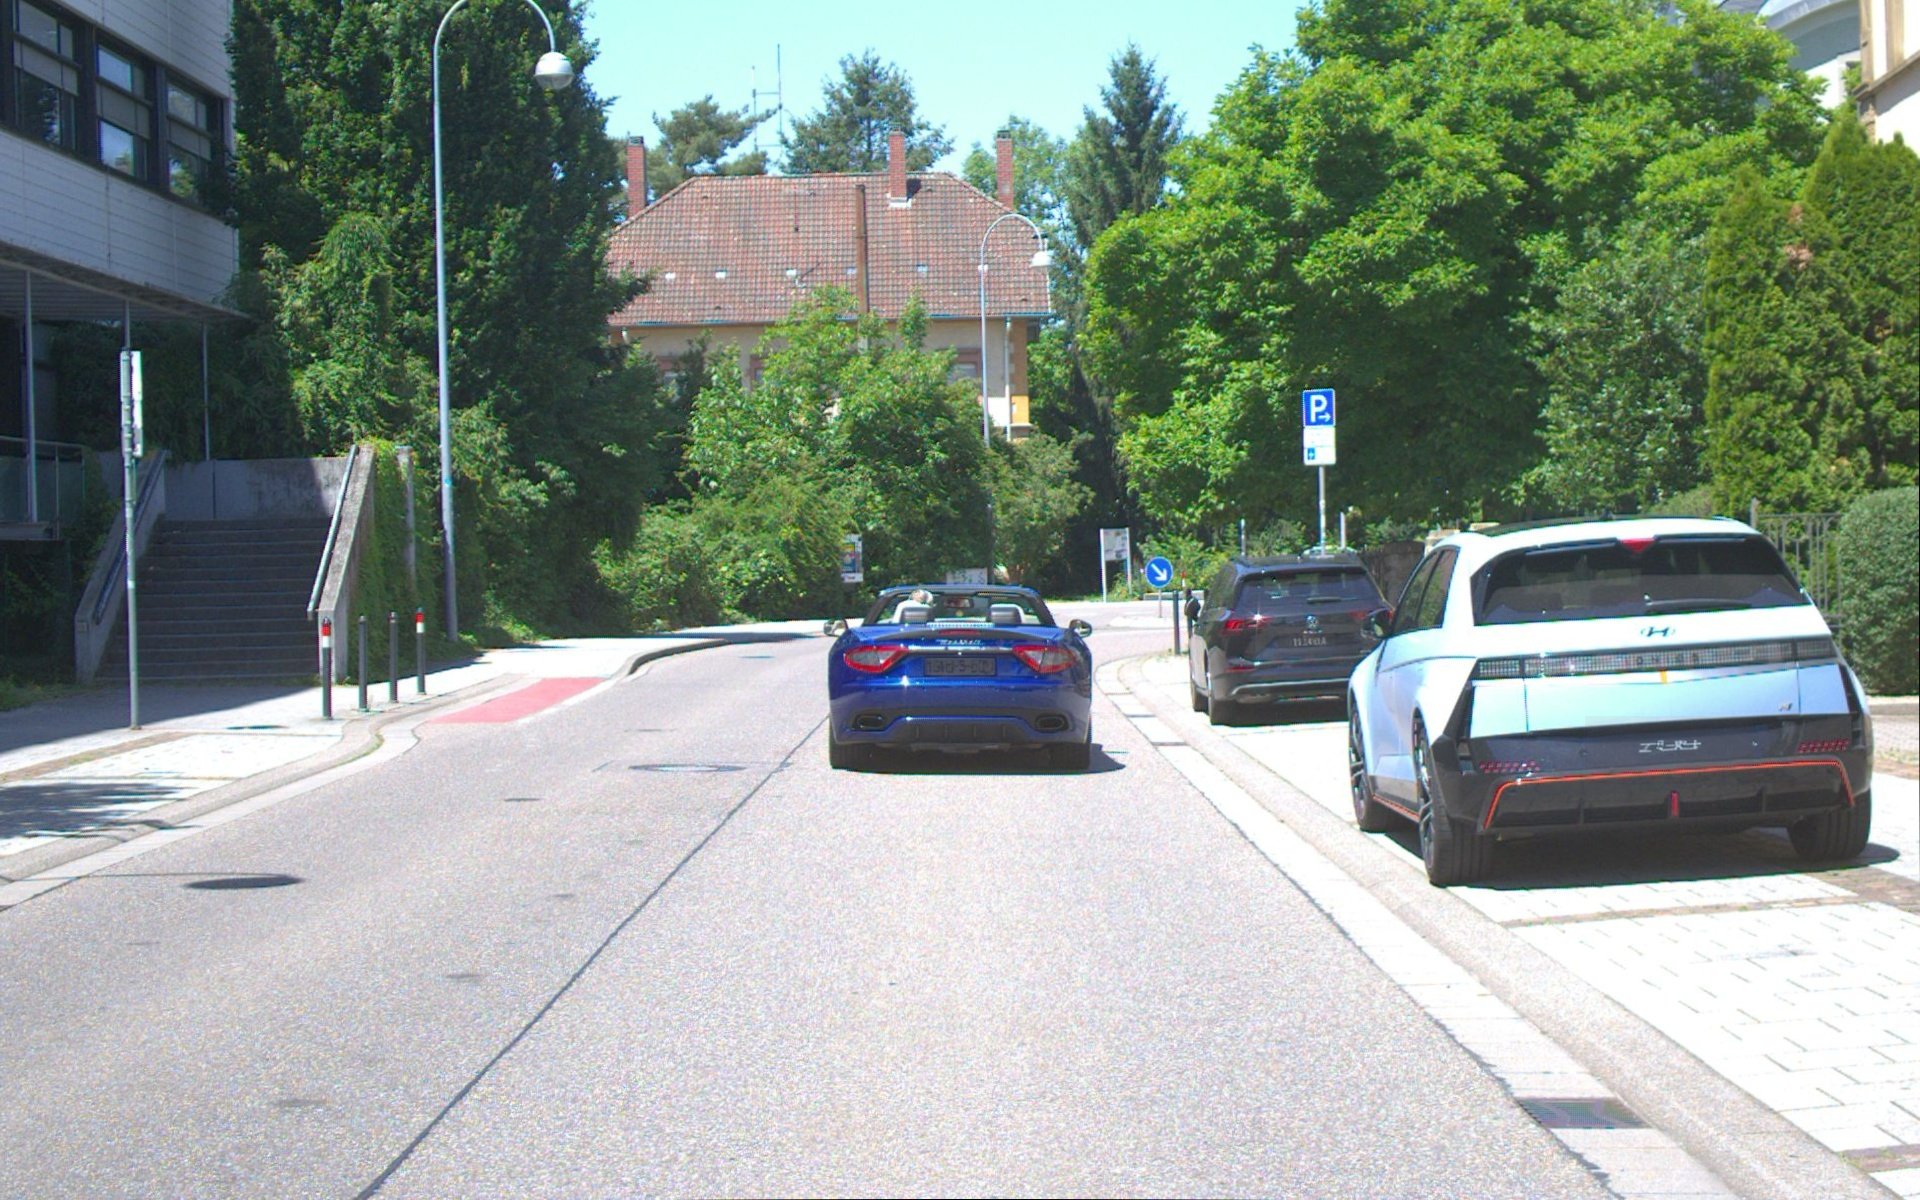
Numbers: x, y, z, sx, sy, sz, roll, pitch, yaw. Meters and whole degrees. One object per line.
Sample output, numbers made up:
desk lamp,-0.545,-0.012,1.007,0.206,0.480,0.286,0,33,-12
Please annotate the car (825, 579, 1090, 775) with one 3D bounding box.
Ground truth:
car,-0.006,0.516,26.092,1.827,1.332,4.700,0,0,0

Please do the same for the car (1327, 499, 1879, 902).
car,2.952,0.395,16.741,1.843,1.614,4.427,-3,1,1

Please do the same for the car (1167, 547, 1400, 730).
car,2.872,0.295,31.308,1.631,1.441,4.398,-4,1,0
